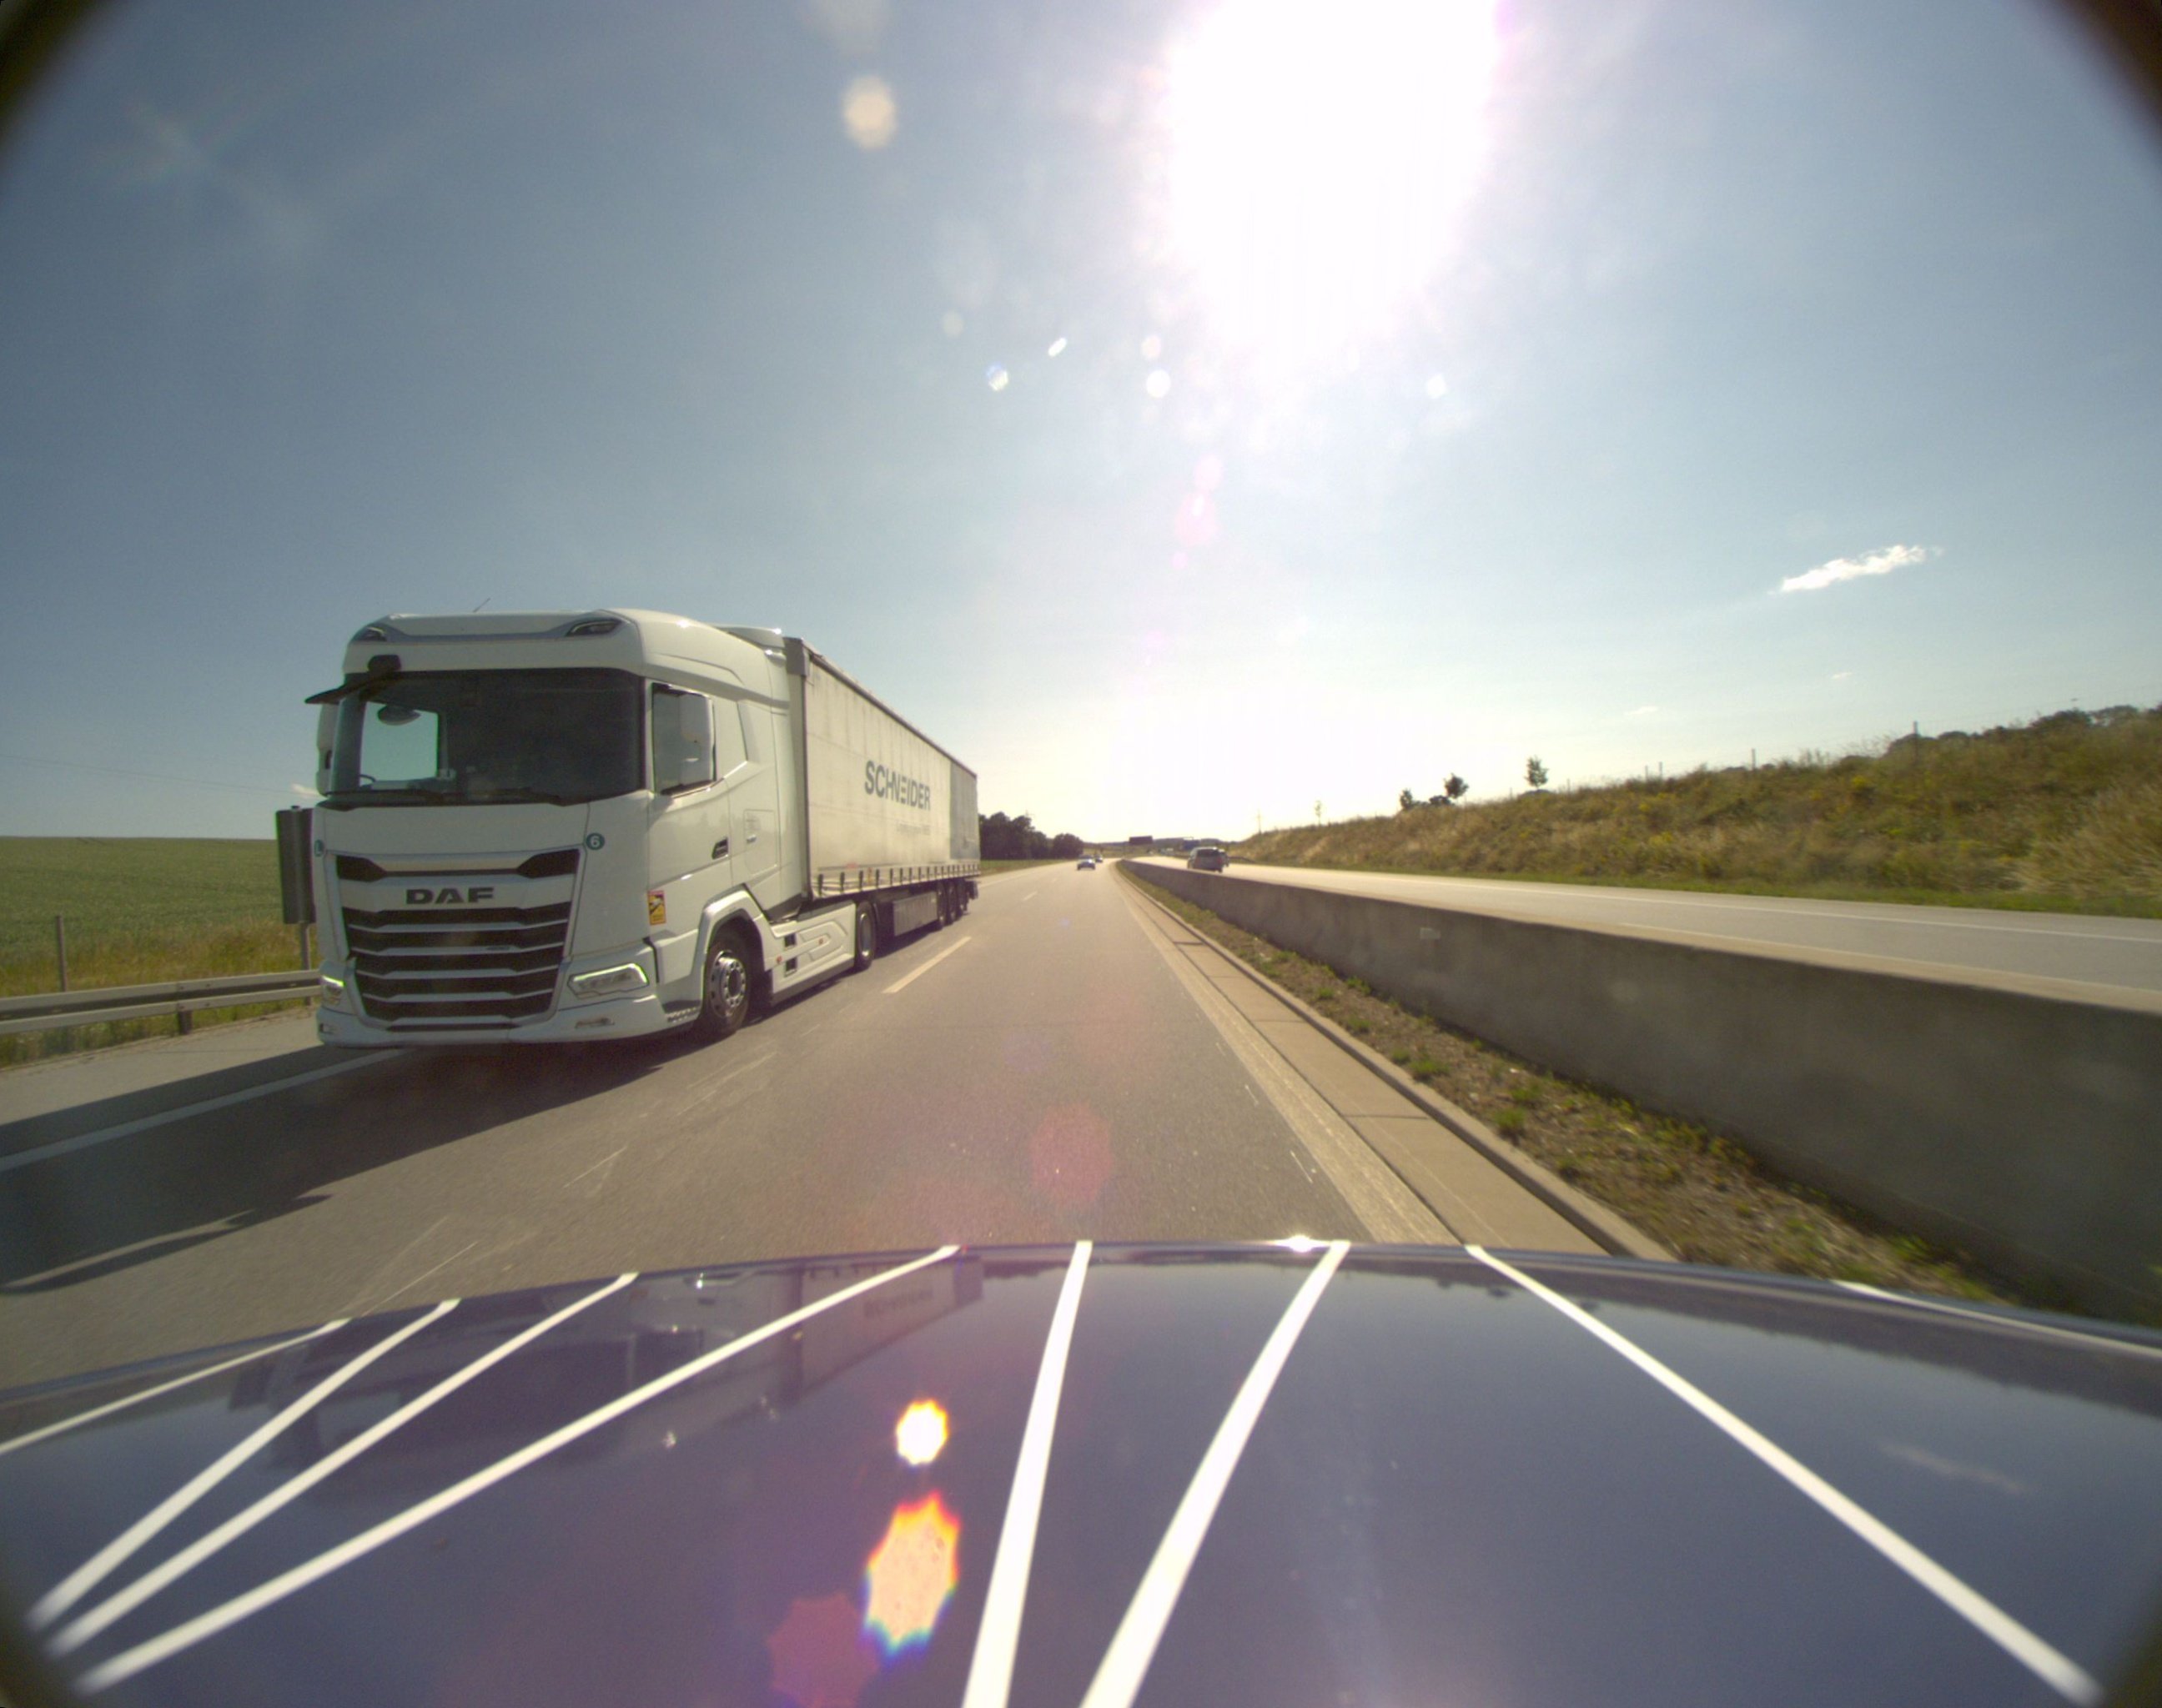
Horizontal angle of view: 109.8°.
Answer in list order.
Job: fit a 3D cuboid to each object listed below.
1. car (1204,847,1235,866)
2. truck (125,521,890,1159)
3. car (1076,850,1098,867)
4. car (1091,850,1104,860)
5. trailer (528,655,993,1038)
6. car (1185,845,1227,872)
[{"bbox_3d":[11.833,0.160,65.195,1.884,1.493,4.565,-2,0,1],"label":"car"},{"bbox_3d":[-4.481,-0.088,8.008,3.090,3.991,6.188,-3,0,1],"label":"truck"},{"bbox_3d":[0.661,0.455,78.280,1.891,1.565,3.793,-2,0,5],"label":"car"},{"bbox_3d":[2.947,0.146,132.819,1.891,1.565,3.793,-3,0,5],"label":"car"},{"bbox_3d":[-4.502,-0.121,16.316,3.184,4.269,15.459,-1,0,1],"label":"trailer"},{"bbox_3d":[7.757,0.260,47.584,1.884,1.566,4.565,-2,0,1],"label":"car"}]
